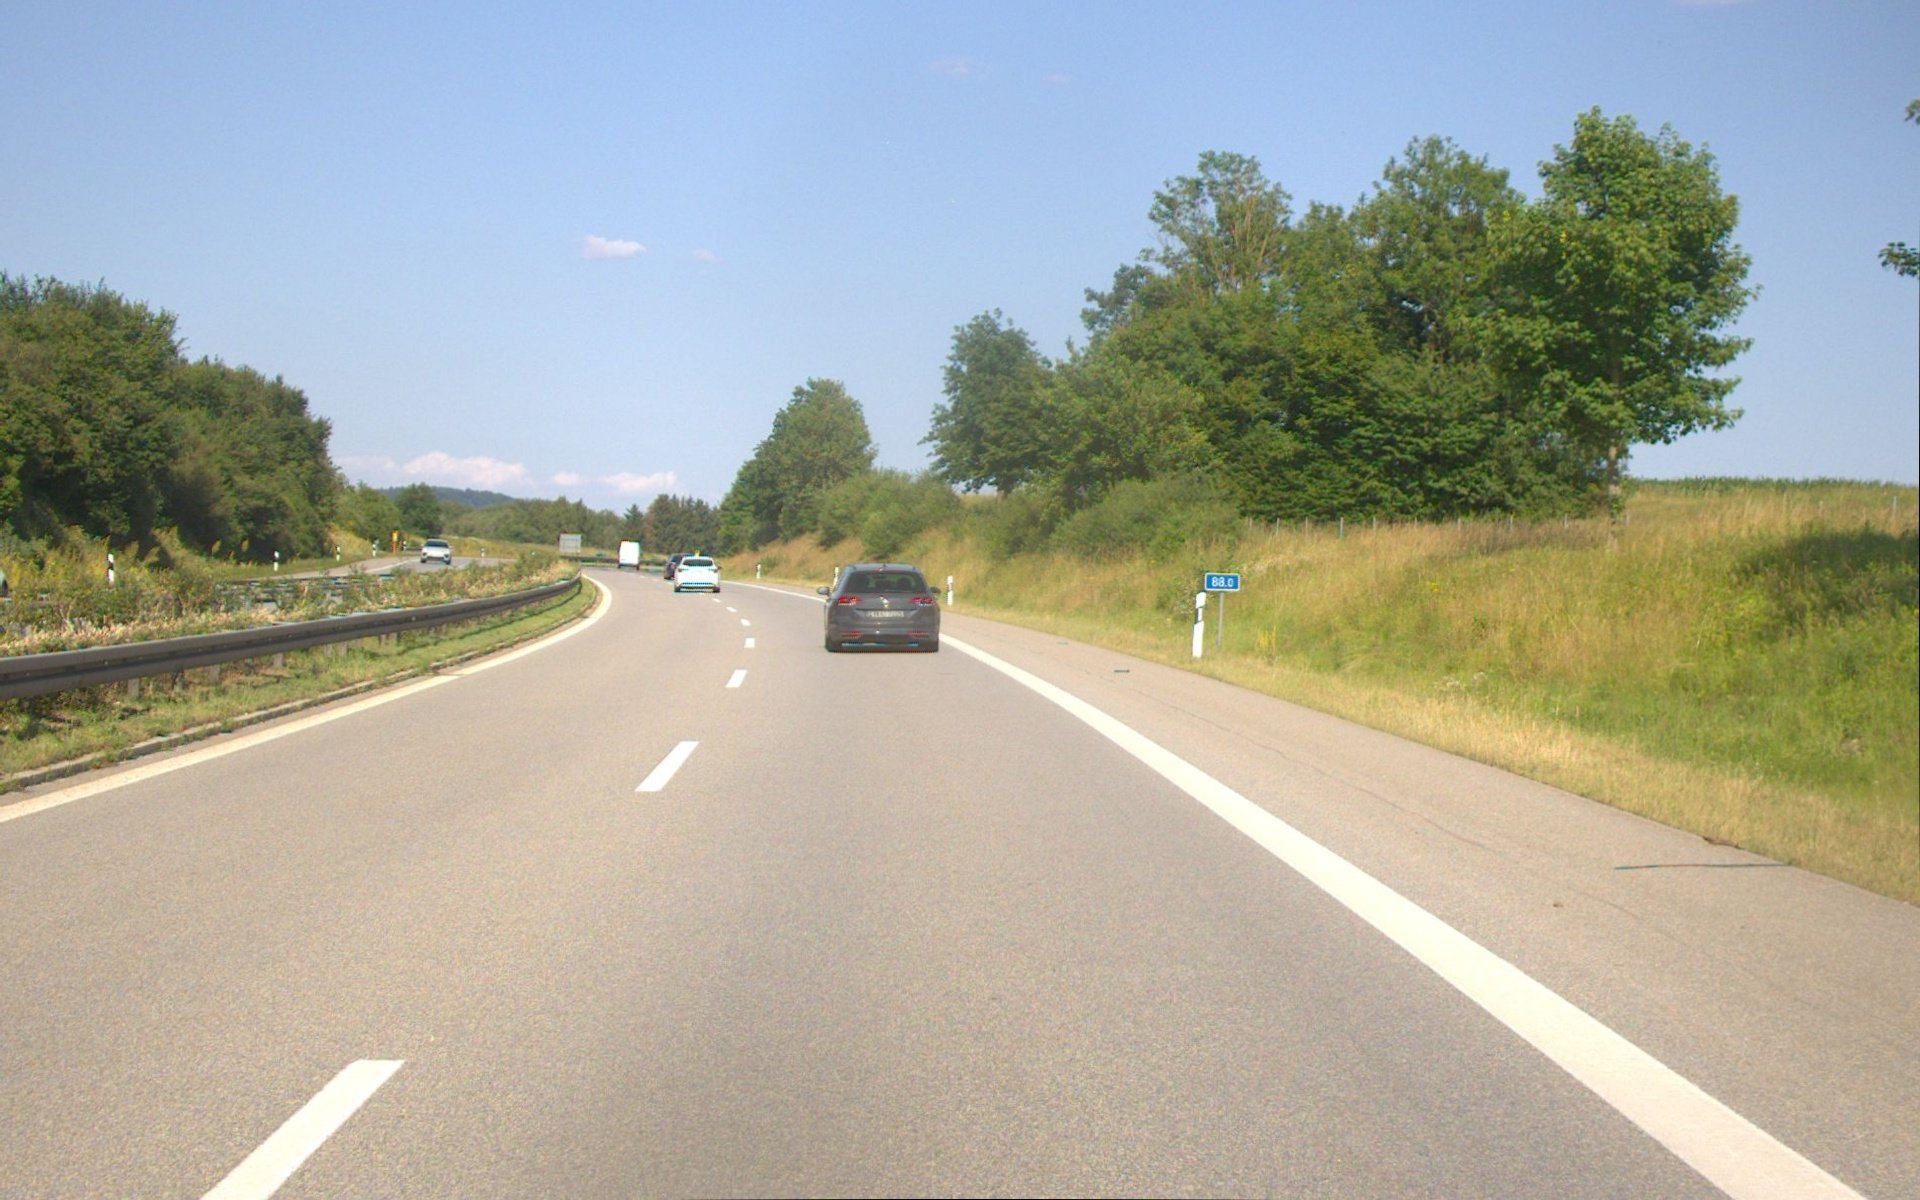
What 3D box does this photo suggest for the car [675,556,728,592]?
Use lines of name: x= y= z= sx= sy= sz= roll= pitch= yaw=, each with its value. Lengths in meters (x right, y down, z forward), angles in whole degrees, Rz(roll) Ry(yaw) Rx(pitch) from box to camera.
car: x=-10.199 y=-1.007 z=135.942 sx=2.007 sy=1.340 sz=4.000 roll=1 pitch=0 yaw=-3

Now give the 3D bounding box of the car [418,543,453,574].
car: x=-35.004 y=-2.759 z=229.555 sx=1.993 sy=2.007 sz=4.856 roll=1 pitch=1 yaw=-5

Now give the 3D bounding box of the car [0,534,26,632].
car: x=-16.574 y=-0.282 z=55.618 sx=1.856 sy=1.593 sz=4.000 roll=1 pitch=1 yaw=-1

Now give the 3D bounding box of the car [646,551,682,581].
car: x=-16.302 y=-1.865 z=189.489 sx=1.710 sy=1.382 sz=3.355 roll=6 pitch=-1 yaw=-3

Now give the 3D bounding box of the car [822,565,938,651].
car: x=-1.335 y=0.104 z=56.070 sx=1.791 sy=1.340 sz=4.000 roll=0 pitch=1 yaw=-3
